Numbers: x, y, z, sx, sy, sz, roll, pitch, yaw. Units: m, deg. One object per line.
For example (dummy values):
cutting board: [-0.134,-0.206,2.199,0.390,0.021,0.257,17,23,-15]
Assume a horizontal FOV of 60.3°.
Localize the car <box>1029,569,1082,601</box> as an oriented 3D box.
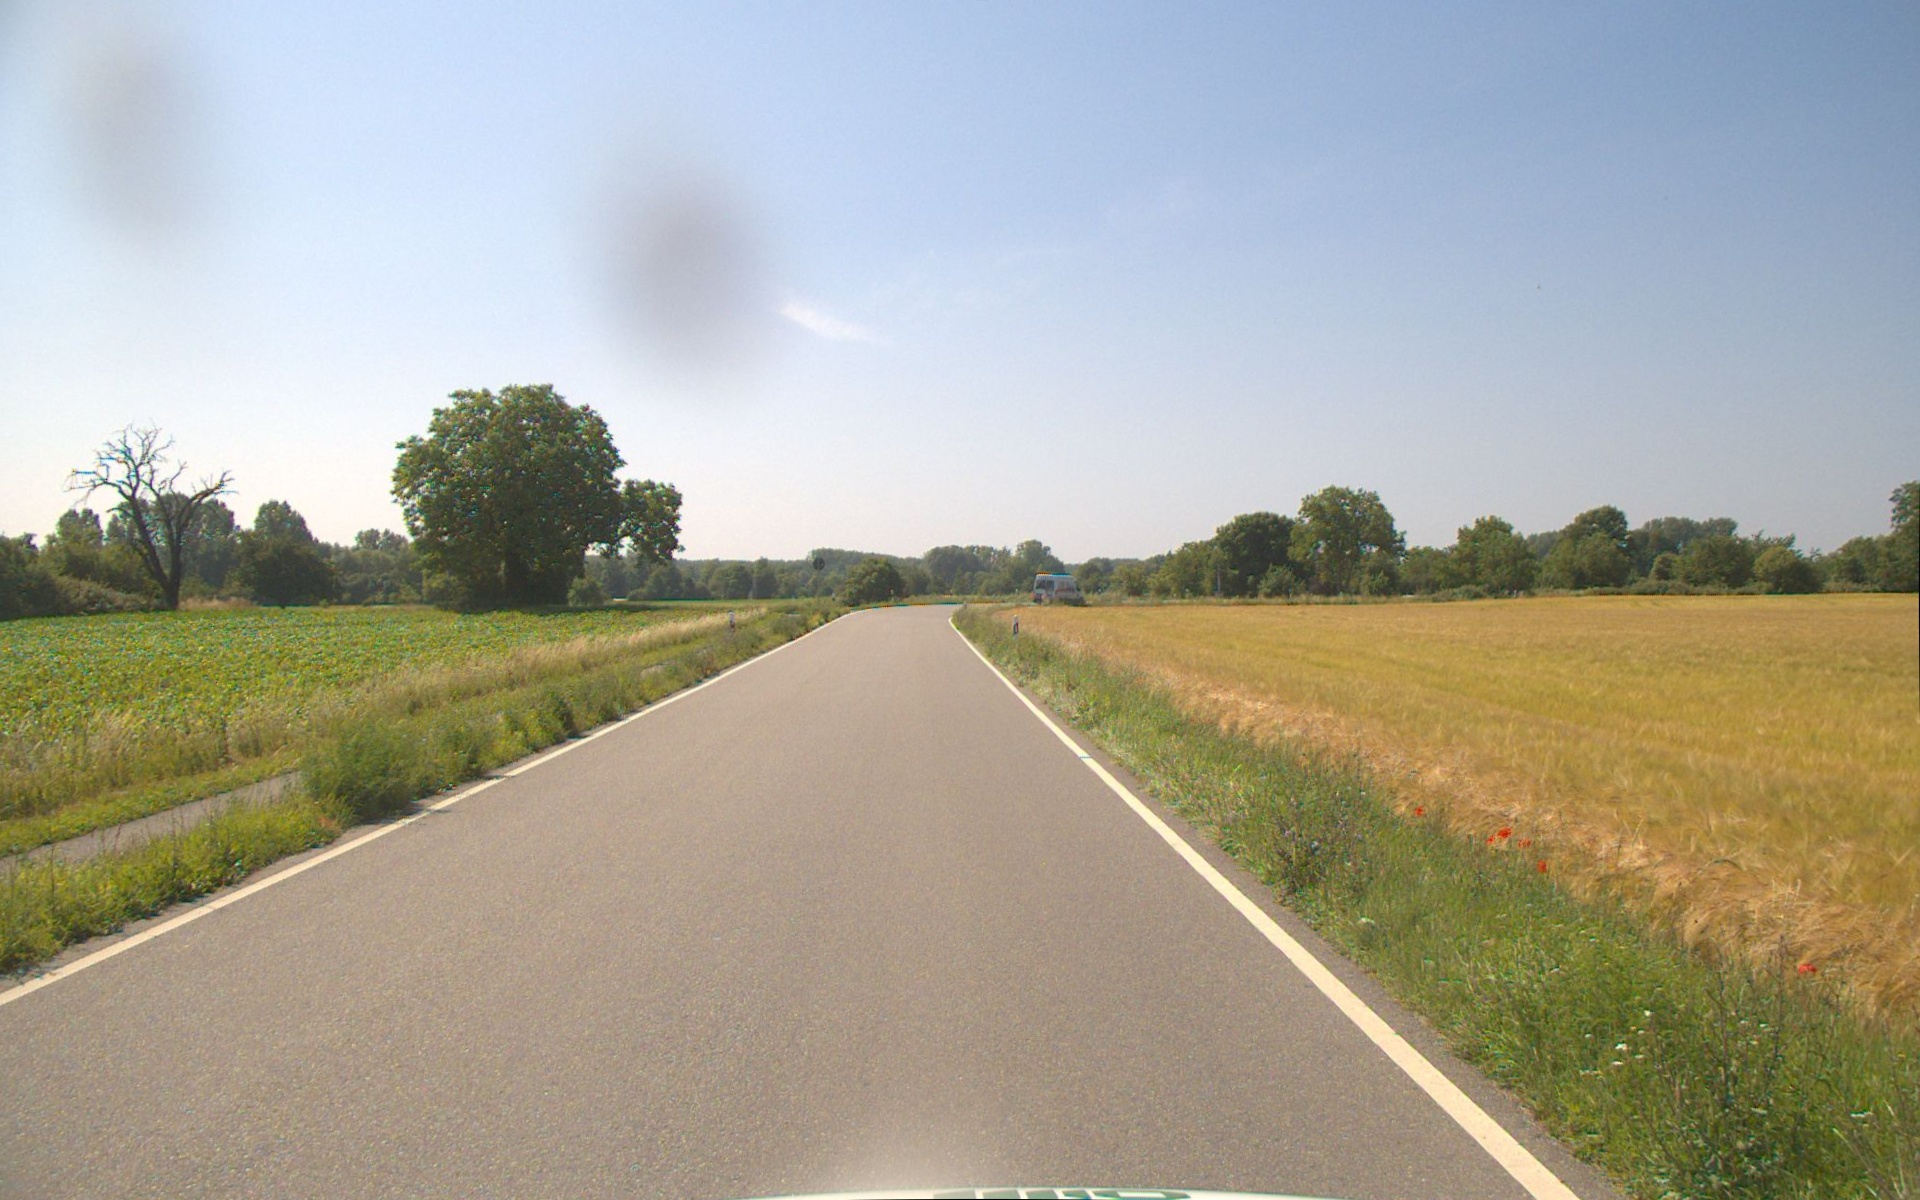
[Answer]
car: [7.558,-1.174,130.400,2.063,2.408,5.681,-1,1,27]
